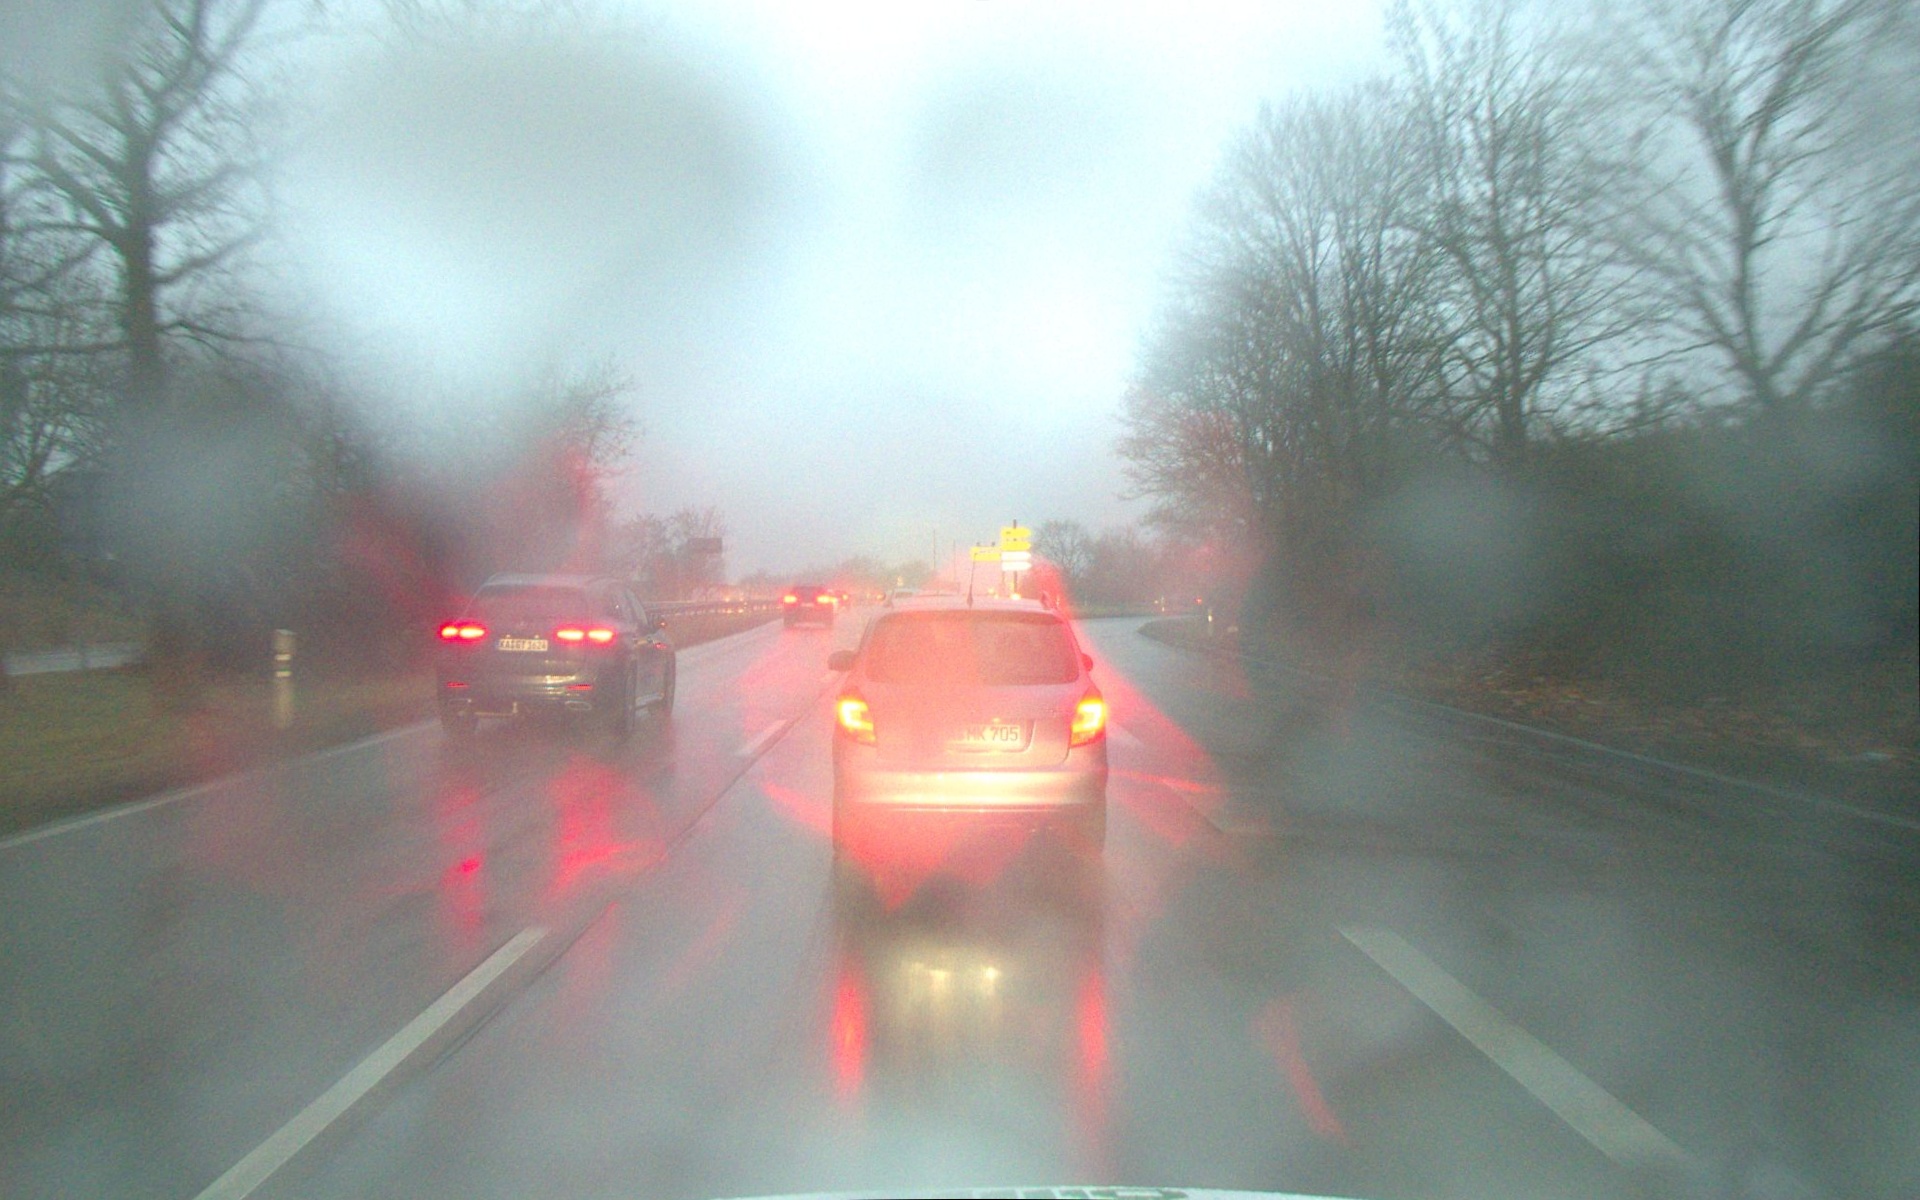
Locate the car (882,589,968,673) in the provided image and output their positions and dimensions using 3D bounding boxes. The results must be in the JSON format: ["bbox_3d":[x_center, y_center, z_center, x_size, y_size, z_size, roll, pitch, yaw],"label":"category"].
[{"bbox_3d":[-0.772,0.662,37.830,1.858,1.798,4.308,0,0,0],"label":"car"}]

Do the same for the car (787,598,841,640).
[{"bbox_3d":[-5.578,0.708,63.549,1.753,1.572,3.999,0,0,-1],"label":"car"}]

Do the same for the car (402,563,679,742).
[{"bbox_3d":[-4.282,0.488,17.623,1.953,1.629,4.307,1,0,-2],"label":"car"}]

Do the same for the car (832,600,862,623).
[{"bbox_3d":[-7.595,0.784,111.463,1.753,1.509,3.999,-1,0,-1],"label":"car"}]

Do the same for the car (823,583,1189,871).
[{"bbox_3d":[0.234,0.691,10.943,1.953,1.527,4.137,0,0,0],"label":"car"}]
